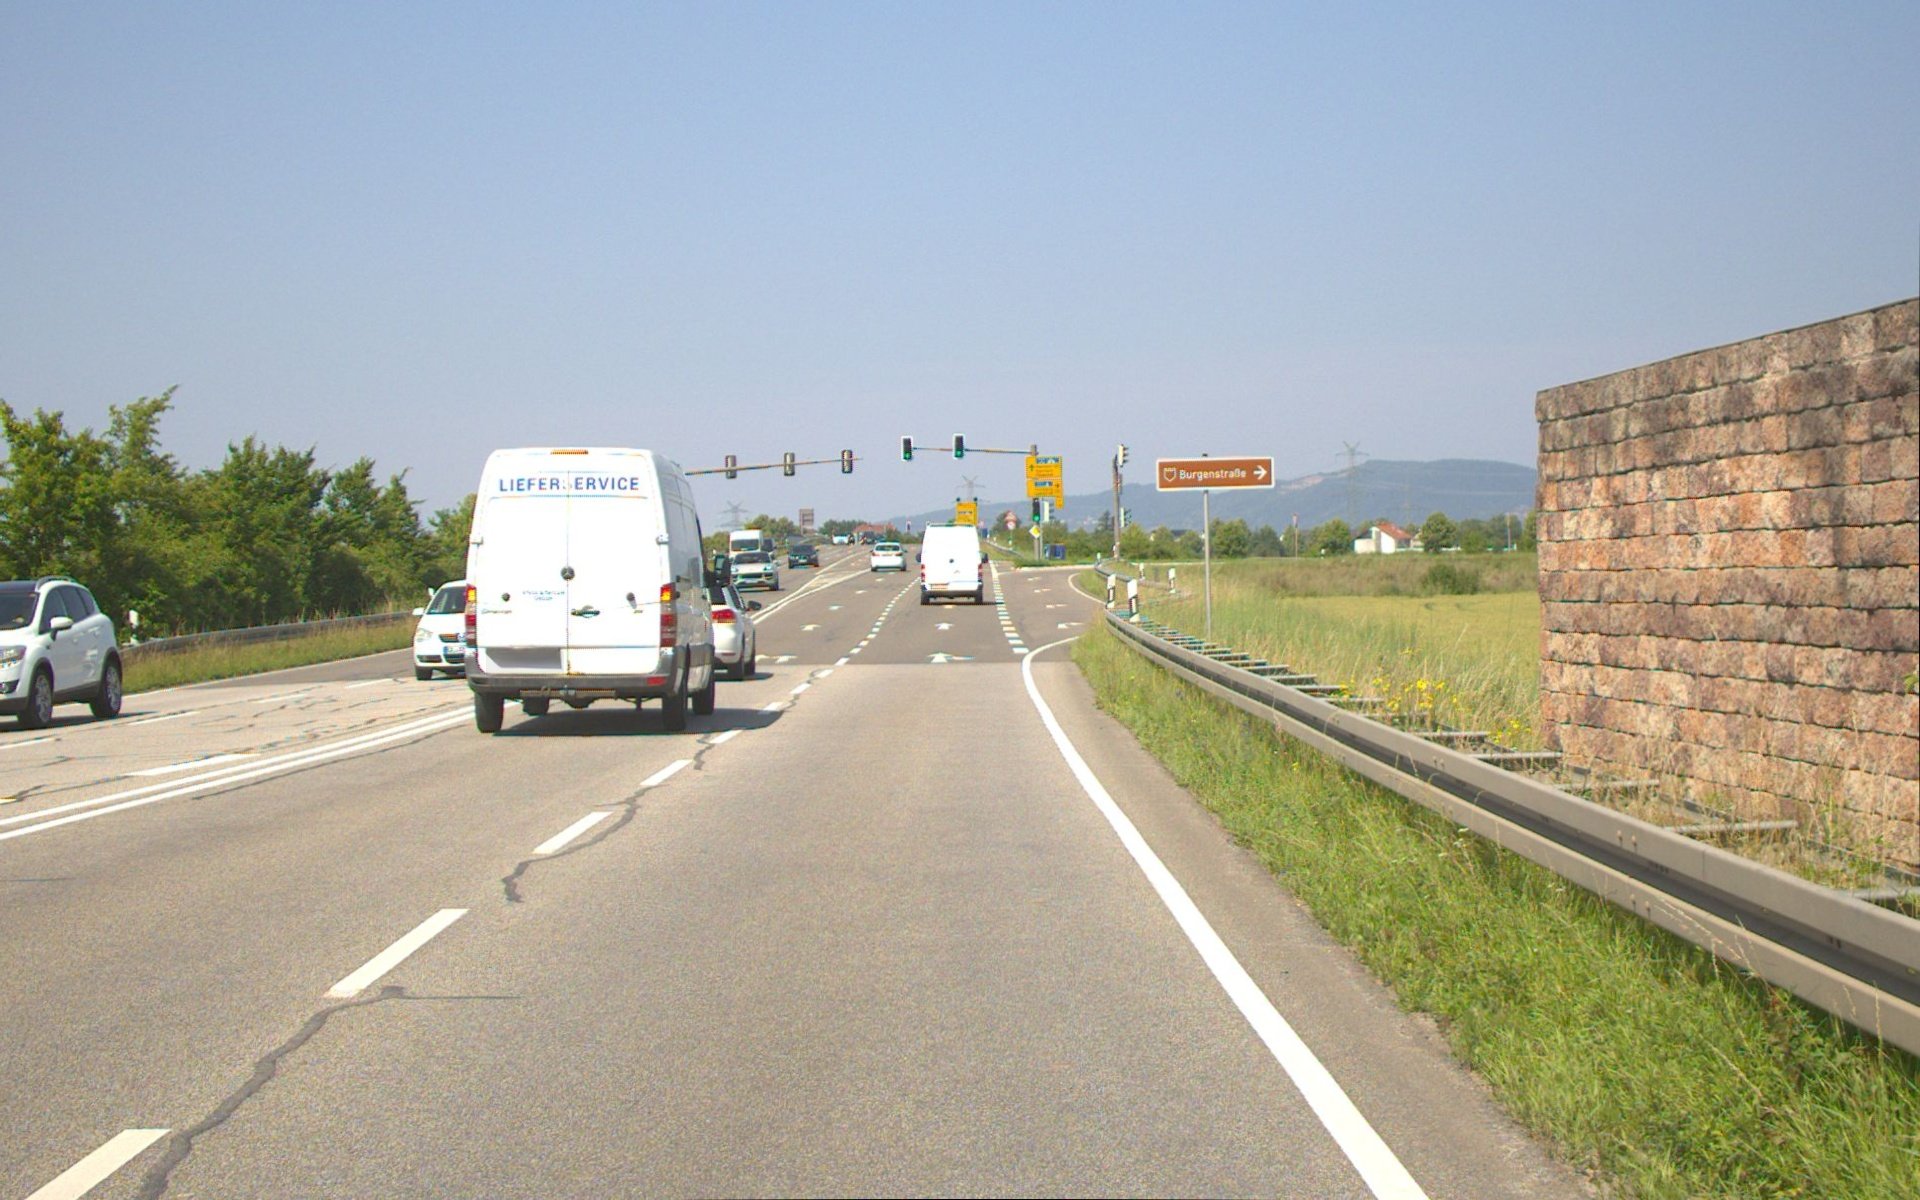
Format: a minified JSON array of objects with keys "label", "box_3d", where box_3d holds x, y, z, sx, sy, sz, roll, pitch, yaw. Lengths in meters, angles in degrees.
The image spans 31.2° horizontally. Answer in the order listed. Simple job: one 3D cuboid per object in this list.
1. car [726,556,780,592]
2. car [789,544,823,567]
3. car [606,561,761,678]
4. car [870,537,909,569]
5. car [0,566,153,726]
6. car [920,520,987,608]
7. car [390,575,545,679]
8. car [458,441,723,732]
[{"label":"car","box_3d":[-8.579,-1.097,142.796,1.857,1.418,4.000,-2,1,1]},{"label":"car","box_3d":[-9.598,-2.762,214.135,1.857,1.418,4.000,-1,0,1]},{"label":"car","box_3d":[-3.800,0.230,47.785,1.799,1.503,4.196,-1,1,0]},{"label":"car","box_3d":[-3.752,-2.491,183.277,1.993,1.697,4.275,0,0,0]},{"label":"car","box_3d":[-10.862,0.517,39.548,1.665,1.671,4.462,-3,1,5]},{"label":"car","box_3d":[-0.204,-1.156,110.115,1.993,2.686,4.970,-2,1,0]},{"label":"car","box_3d":[-7.435,0.378,52.195,1.749,1.437,4.082,-2,1,0]},{"label":"car","box_3d":[-3.512,-0.130,33.712,2.039,2.611,5.741,0,0,-1]}]
